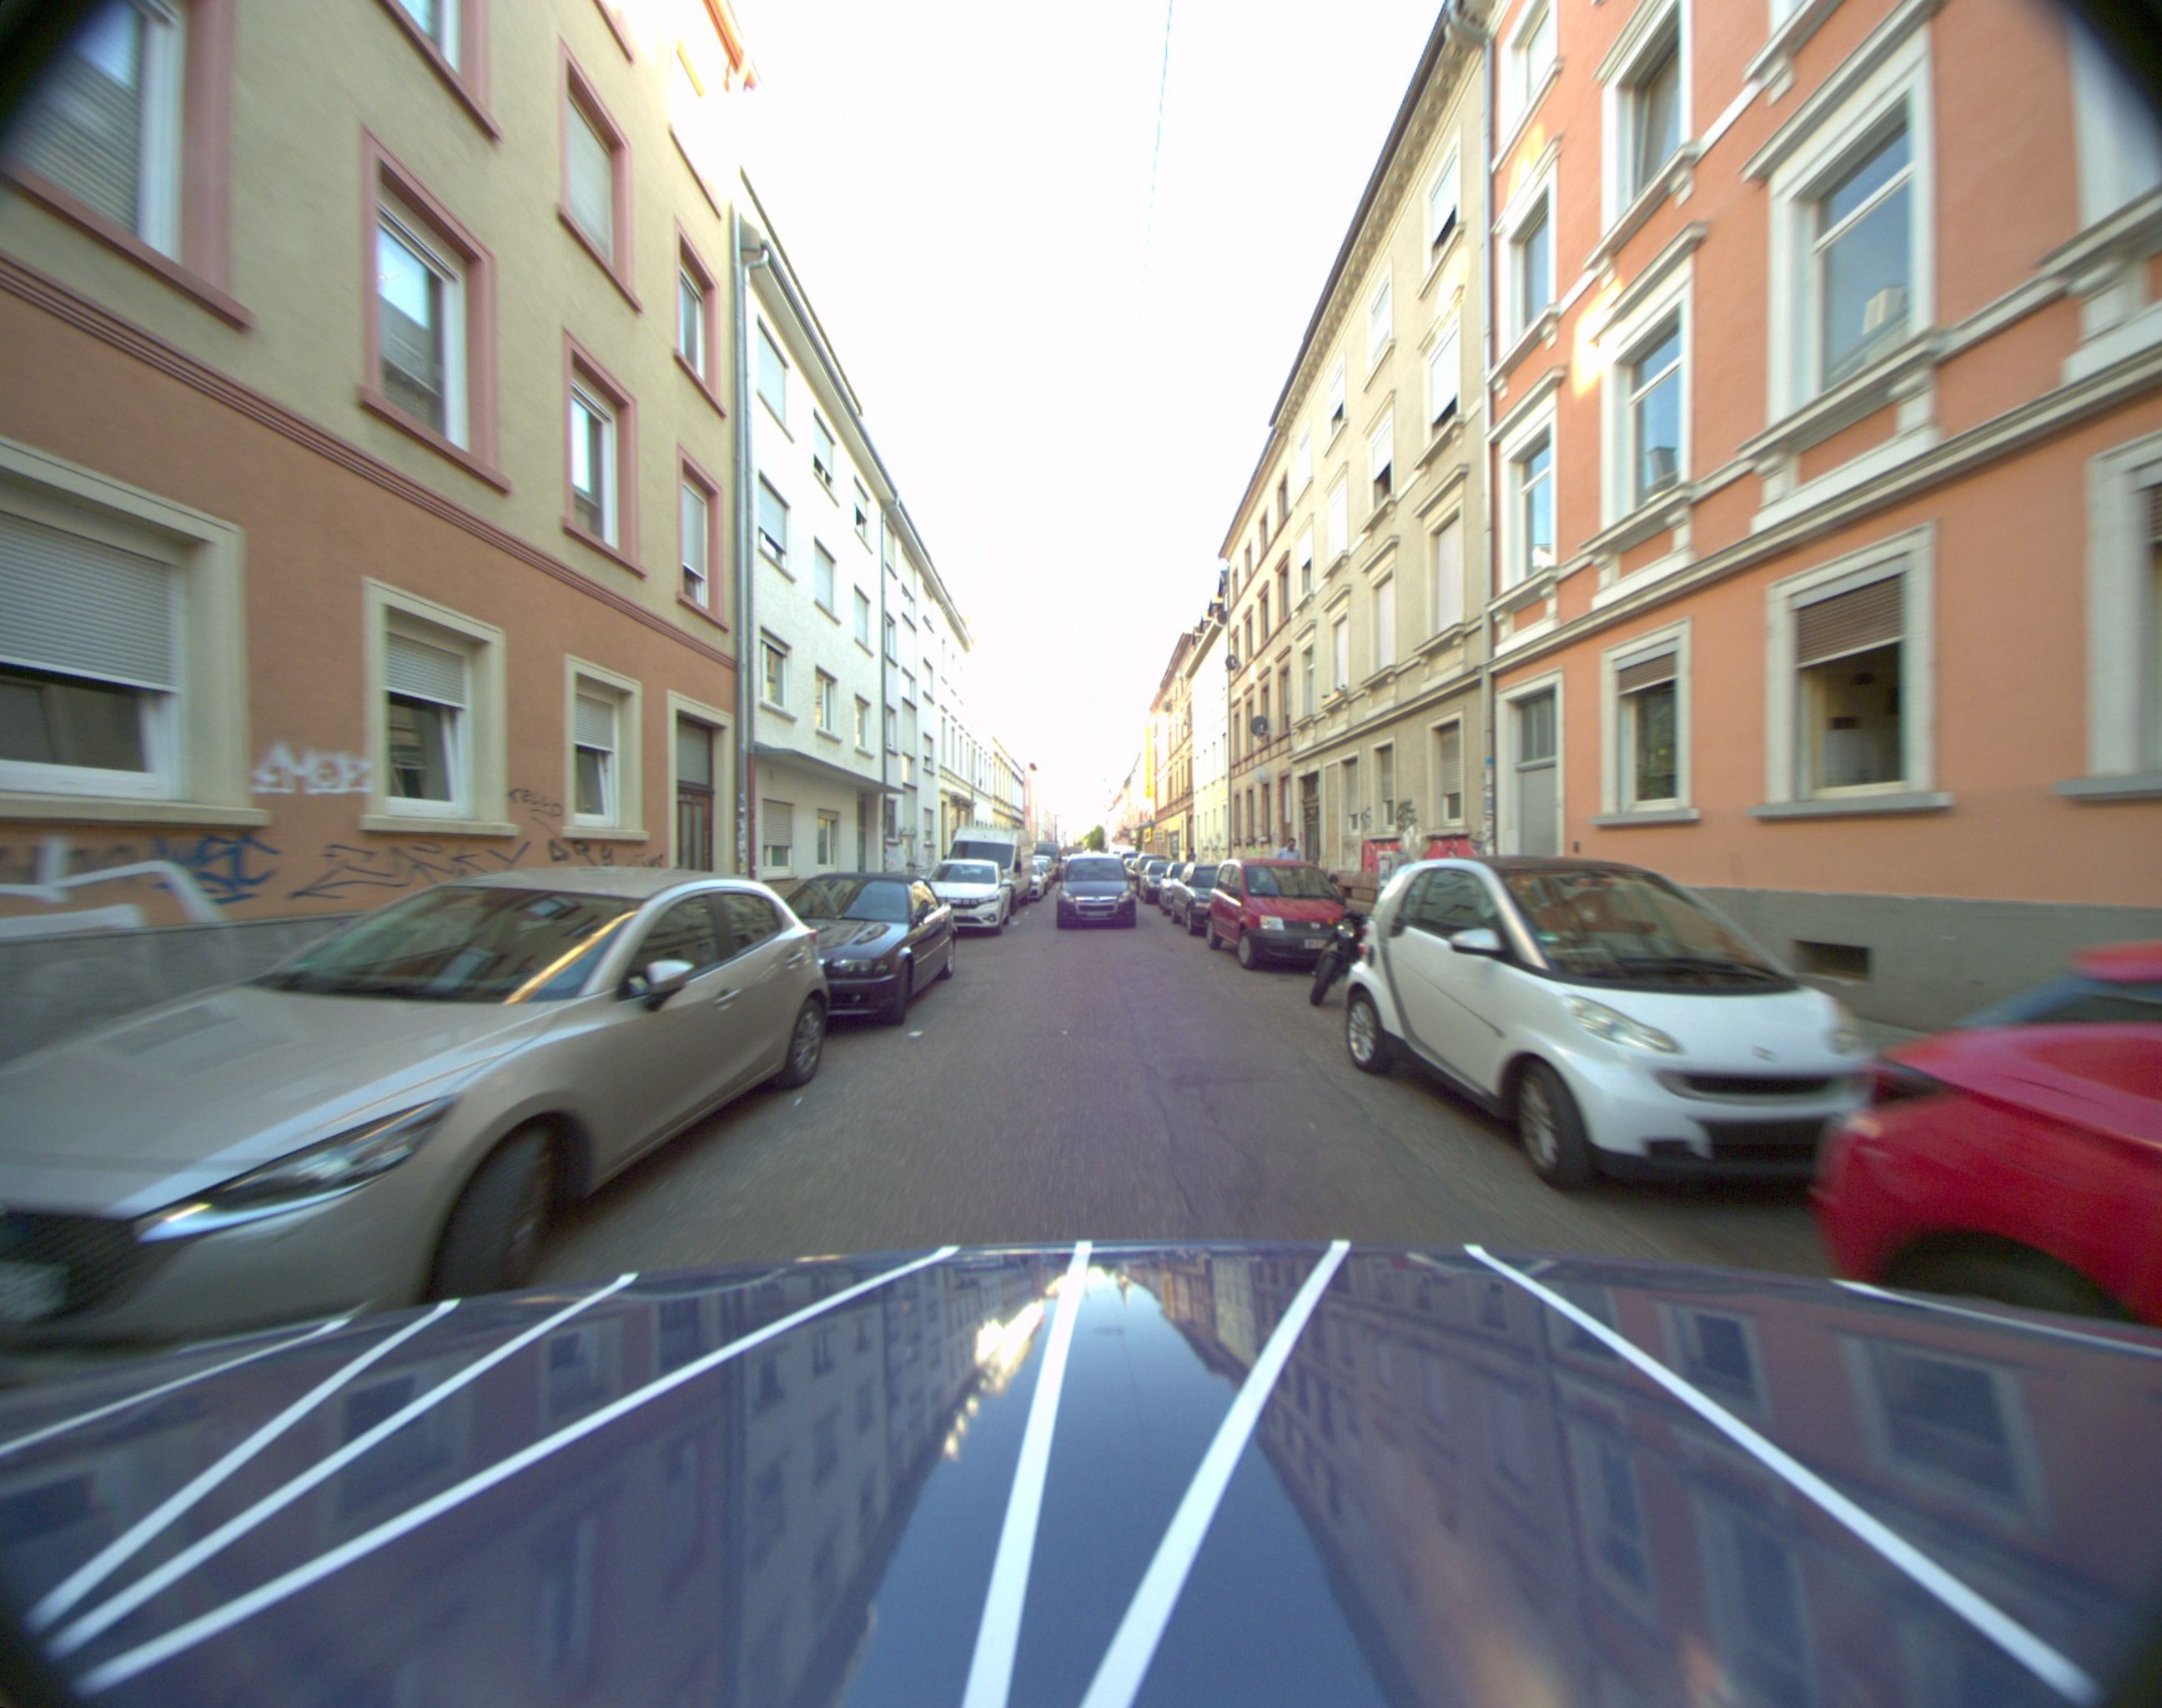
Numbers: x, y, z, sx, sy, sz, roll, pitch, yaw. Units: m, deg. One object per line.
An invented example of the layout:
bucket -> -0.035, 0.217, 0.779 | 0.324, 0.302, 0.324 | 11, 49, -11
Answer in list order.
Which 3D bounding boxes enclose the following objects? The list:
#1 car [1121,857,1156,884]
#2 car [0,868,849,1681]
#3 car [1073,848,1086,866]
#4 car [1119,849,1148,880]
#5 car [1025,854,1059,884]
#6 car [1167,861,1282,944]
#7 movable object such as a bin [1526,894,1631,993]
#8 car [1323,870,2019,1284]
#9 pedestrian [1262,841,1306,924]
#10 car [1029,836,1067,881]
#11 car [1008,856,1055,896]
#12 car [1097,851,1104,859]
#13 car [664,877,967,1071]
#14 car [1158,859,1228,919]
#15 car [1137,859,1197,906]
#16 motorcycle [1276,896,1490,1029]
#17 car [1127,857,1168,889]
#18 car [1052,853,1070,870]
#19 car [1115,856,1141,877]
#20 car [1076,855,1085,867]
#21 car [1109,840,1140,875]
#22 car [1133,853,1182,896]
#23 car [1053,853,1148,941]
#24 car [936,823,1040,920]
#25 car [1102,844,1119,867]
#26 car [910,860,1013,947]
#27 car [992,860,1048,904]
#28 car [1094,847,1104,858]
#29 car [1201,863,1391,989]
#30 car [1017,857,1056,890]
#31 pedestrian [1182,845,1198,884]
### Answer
car -> 3.167, 0.873, 42.111 | 1.683, 1.407, 3.860 | -1, 0, 1
car -> -2.724, 0.938, 3.688 | 1.683, 1.588, 4.190 | -2, 0, 3
car -> -0.242, 0.543, 145.436 | 2.437, 3.404, 5.543 | -2, 0, 0
car -> 3.310, 0.615, 48.828 | 1.751, 1.880, 4.772 | -1, 0, 3
car -> -2.202, 0.820, 43.508 | 1.683, 1.626, 3.860 | -2, 0, 0
car -> 2.902, 0.919, 16.222 | 1.683, 1.454, 4.313 | -1, 0, 1
movable object such as a bin -> 5.744, 1.020, 8.812 | 0.779, 1.043, 0.662 | -3, 0, 9
car -> 2.812, 0.903, 4.467 | 1.684, 1.540, 2.959 | 1, 0, -3
pedestrian -> 4.601, 0.637, 17.255 | 0.790, 1.820, 0.594 | -2, 1, 1
car -> -2.058, 0.286, 49.676 | 2.050, 2.662, 6.185 | -2, 0, 1
car -> -2.101, 0.909, 33.061 | 1.683, 1.556, 3.860 | -2, 0, 1
car -> 4.618, 0.210, 180.630 | 1.683, 1.851, 4.159 | -2, 0, 0
car -> -2.519, 1.057, 8.495 | 1.772, 1.386, 4.494 | -2, 0, 0
car -> 3.031, 0.903, 21.210 | 1.683, 1.454, 3.861 | -1, 0, 5
car -> 2.916, 0.921, 26.404 | 1.683, 1.454, 3.860 | -1, 0, 1
motorcycle -> 3.183, 1.077, 7.992 | 2.083, 1.121, 0.789 | -2, 1, -21
car -> 3.195, 0.875, 37.071 | 1.683, 1.448, 3.860 | -1, 0, 1
car -> -2.000, 0.715, 77.002 | 1.683, 1.588, 3.860 | -2, 0, 0
car -> 3.328, 0.871, 54.107 | 1.683, 1.381, 3.860 | -1, 0, 1
car -> -0.075, 1.209, 138.546 | 1.683, 2.077, 4.159 | -2, 0, 0
car -> 3.387, 0.263, 60.145 | 2.094, 2.576, 5.842 | -1, 0, 0
car -> 3.097, 0.786, 31.548 | 1.683, 1.674, 3.860 | -1, 0, 1
car -> 0.377, 0.846, 17.476 | 1.798, 1.652, 5.184 | -2, 0, 0
car -> -2.638, 0.457, 23.202 | 2.050, 2.498, 6.024 | -2, 0, 3
car -> 3.163, 0.128, 81.459 | 1.683, 2.352, 4.098 | -1, 0, 1
car -> -2.426, 0.947, 16.291 | 1.684, 1.550, 3.859 | -2, 0, -2
car -> -2.186, 0.973, 28.234 | 1.683, 1.434, 3.860 | -2, 0, 1
car -> 4.887, -0.486, 210.718 | 2.565, 3.029, 7.061 | -2, 0, 0
car -> 2.945, 0.913, 11.182 | 1.683, 1.483, 3.611 | -1, 0, -2
car -> -2.168, 0.924, 38.224 | 1.683, 1.511, 3.859 | -2, 0, 0
pedestrian -> 5.180, 0.509, 36.256 | 0.626, 1.820, 0.594 | -2, 1, 1
